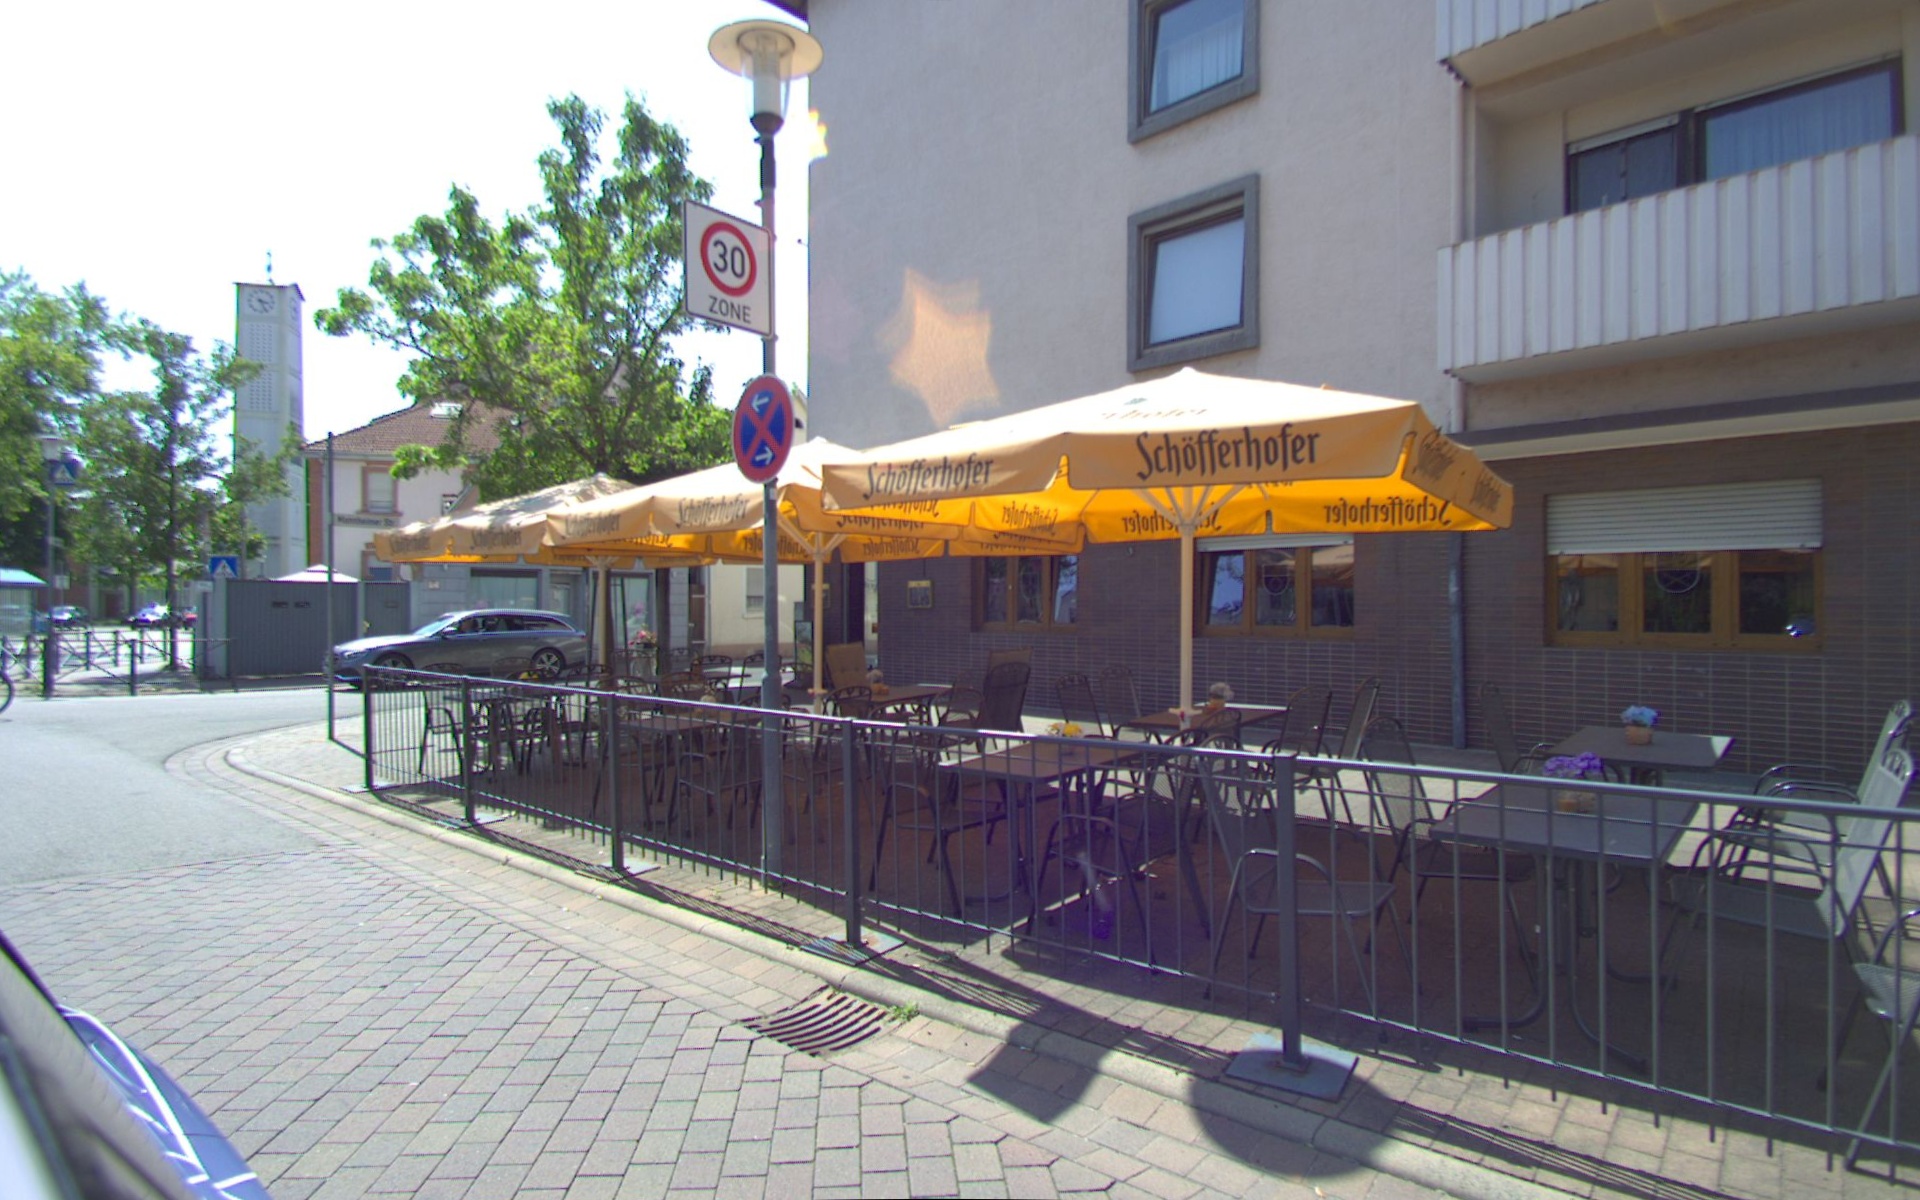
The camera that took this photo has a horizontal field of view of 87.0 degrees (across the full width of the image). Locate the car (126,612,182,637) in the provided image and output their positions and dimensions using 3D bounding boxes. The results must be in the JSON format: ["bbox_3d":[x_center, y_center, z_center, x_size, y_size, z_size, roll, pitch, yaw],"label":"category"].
[{"bbox_3d":[-50.543,1.534,63.494,1.622,1.479,3.791,0,-2,-20],"label":"car"}]

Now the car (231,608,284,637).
[{"bbox_3d":[-45.552,1.435,65.736,1.751,1.807,4.012,1,-1,-19],"label":"car"}]

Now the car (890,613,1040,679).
[{"bbox_3d":[0.154,1.054,24.052,3.433,1.465,1.582,1,-2,-43],"label":"car"}]

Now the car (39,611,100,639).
[{"bbox_3d":[-54.433,1.515,61.918,1.966,1.629,4.012,1,-1,-29],"label":"car"}]

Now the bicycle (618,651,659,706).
[{"bbox_3d":[-5.661,1.361,17.845,0.457,0.904,1.417,-1,-2,-9],"label":"bicycle"}]

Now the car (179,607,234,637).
[{"bbox_3d":[-48.278,1.427,64.947,1.751,1.807,4.013,0,-2,-20],"label":"car"}]

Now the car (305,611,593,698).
[{"bbox_3d":[-10.010,0.992,20.111,1.916,1.492,4.774,-2,-1,44],"label":"car"}]

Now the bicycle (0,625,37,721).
[{"bbox_3d":[-12.854,0.909,12.570,0.738,1.198,1.944,0,-2,40],"label":"bicycle"}]
